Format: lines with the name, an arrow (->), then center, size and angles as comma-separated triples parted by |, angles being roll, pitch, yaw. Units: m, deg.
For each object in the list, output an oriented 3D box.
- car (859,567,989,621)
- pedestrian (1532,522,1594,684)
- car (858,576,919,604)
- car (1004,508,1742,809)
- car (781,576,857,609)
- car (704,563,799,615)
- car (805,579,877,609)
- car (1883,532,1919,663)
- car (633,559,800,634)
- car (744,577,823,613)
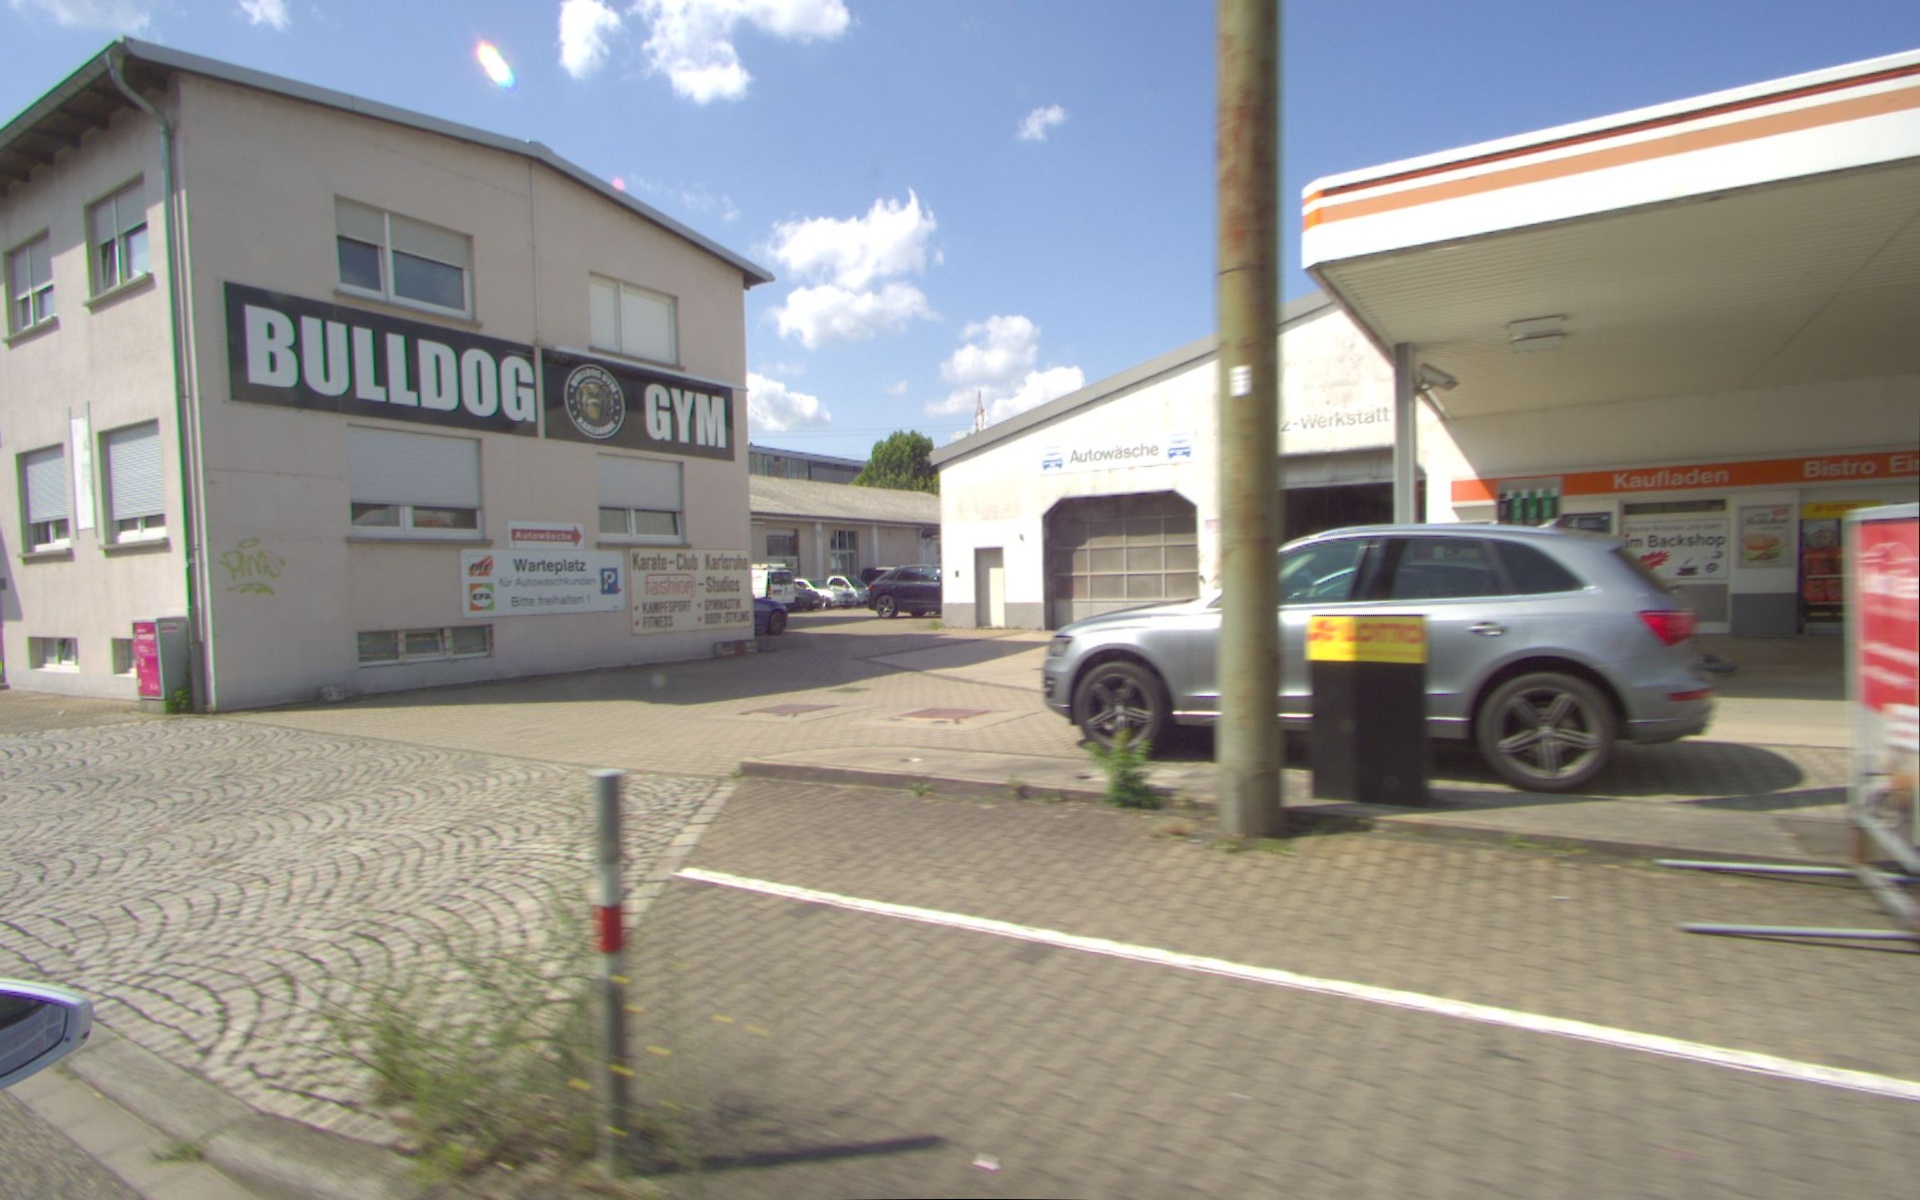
car -> -1.151, -0.183, 31.519 | 3.885, 1.564, 1.509 | -1, 2, 32
pedestrian -> 6.901, 0.038, 11.477 | 0.569, 1.800, 0.496 | -1, 0, 30
car -> -3.781, -0.525, 53.042 | 3.035, 1.387, 1.360 | -1, -1, 32
car -> 2.800, 0.325, 7.478 | 4.547, 1.647, 1.942 | -1, 2, 31
car -> -6.611, -0.326, 46.925 | 3.423, 1.415, 1.411 | -1, -1, 32
car -> -8.925, -0.430, 42.759 | 3.790, 2.058, 1.783 | -1, -1, 32
car -> -5.860, -0.267, 49.336 | 3.423, 1.415, 1.360 | -1, -1, 32
car -> 13.596, -0.022, 11.262 | 4.427, 1.541, 1.678 | 1, 3, 32
car -> -6.044, -0.045, 25.257 | 1.969, 1.738, 3.985 | -1, -1, 27
car -> -7.948, -0.207, 45.031 | 3.366, 1.499, 1.494 | -1, -1, 32
